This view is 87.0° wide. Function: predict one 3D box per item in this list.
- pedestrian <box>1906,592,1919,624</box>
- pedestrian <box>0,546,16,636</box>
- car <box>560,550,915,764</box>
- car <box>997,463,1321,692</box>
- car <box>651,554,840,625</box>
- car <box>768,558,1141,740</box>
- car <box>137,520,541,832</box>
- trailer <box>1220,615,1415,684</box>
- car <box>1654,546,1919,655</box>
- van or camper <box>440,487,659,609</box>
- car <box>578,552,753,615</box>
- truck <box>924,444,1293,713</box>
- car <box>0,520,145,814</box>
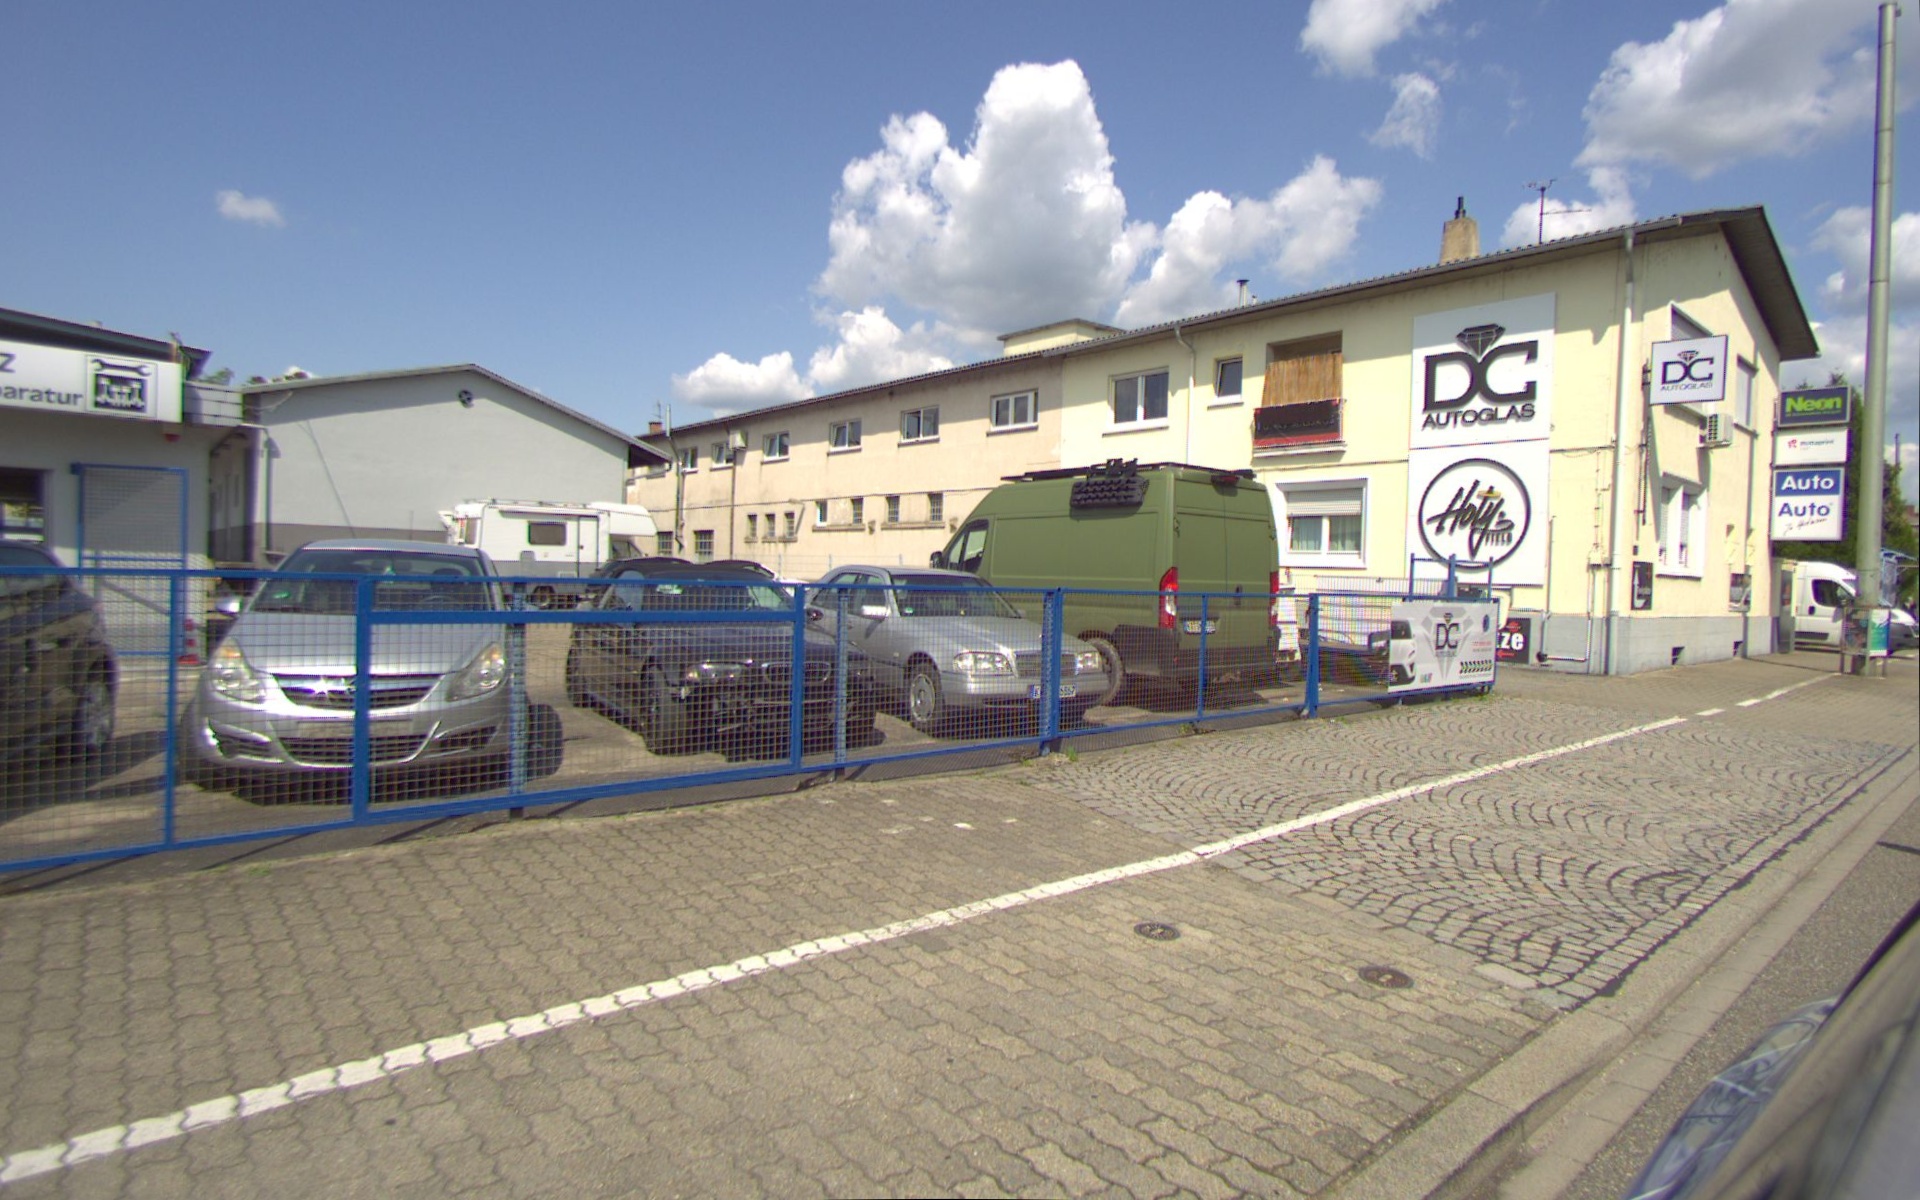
[{"bbox_3d":[49.571,0.406,52.347,0.902,1.606,0.816,1,1,-41],"label":"pedestrian"},{"bbox_3d":[-13.261,-0.130,13.842,0.479,1.228,0.501,1,1,-42],"label":"pedestrian"},{"bbox_3d":[-2.127,0.308,8.748,1.768,1.403,3.837,1,2,-32],"label":"car"},{"bbox_3d":[2.609,-0.347,14.145,1.771,2.702,4.208,1,2,-40],"label":"car"},{"bbox_3d":[-4.929,-0.248,23.521,3.939,1.497,1.719,0,2,-41],"label":"car"},{"bbox_3d":[-0.299,0.318,10.208,1.768,1.413,4.216,1,2,-33],"label":"car"},{"bbox_3d":[-3.953,0.300,7.104,1.766,1.497,4.158,1,2,-24],"label":"car"},{"bbox_3d":[5.079,0.668,14.531,1.245,0.776,2.330,0,2,-39],"label":"trailer"},{"bbox_3d":[22.711,-0.085,27.413,1.963,2.404,5.989,1,5,-38],"label":"car"},{"bbox_3d":[-11.011,-1.325,27.370,4.971,2.999,2.284,0,2,-42],"label":"van or camper"},{"bbox_3d":[-7.483,-0.412,25.891,3.939,1.497,1.719,0,2,-41],"label":"car"},{"bbox_3d":[1.620,-0.287,12.148,2.033,2.639,3.996,1,2,-40],"label":"truck"},{"bbox_3d":[-5.749,0.322,5.036,1.685,1.497,4.012,1,2,-25],"label":"car"}]
